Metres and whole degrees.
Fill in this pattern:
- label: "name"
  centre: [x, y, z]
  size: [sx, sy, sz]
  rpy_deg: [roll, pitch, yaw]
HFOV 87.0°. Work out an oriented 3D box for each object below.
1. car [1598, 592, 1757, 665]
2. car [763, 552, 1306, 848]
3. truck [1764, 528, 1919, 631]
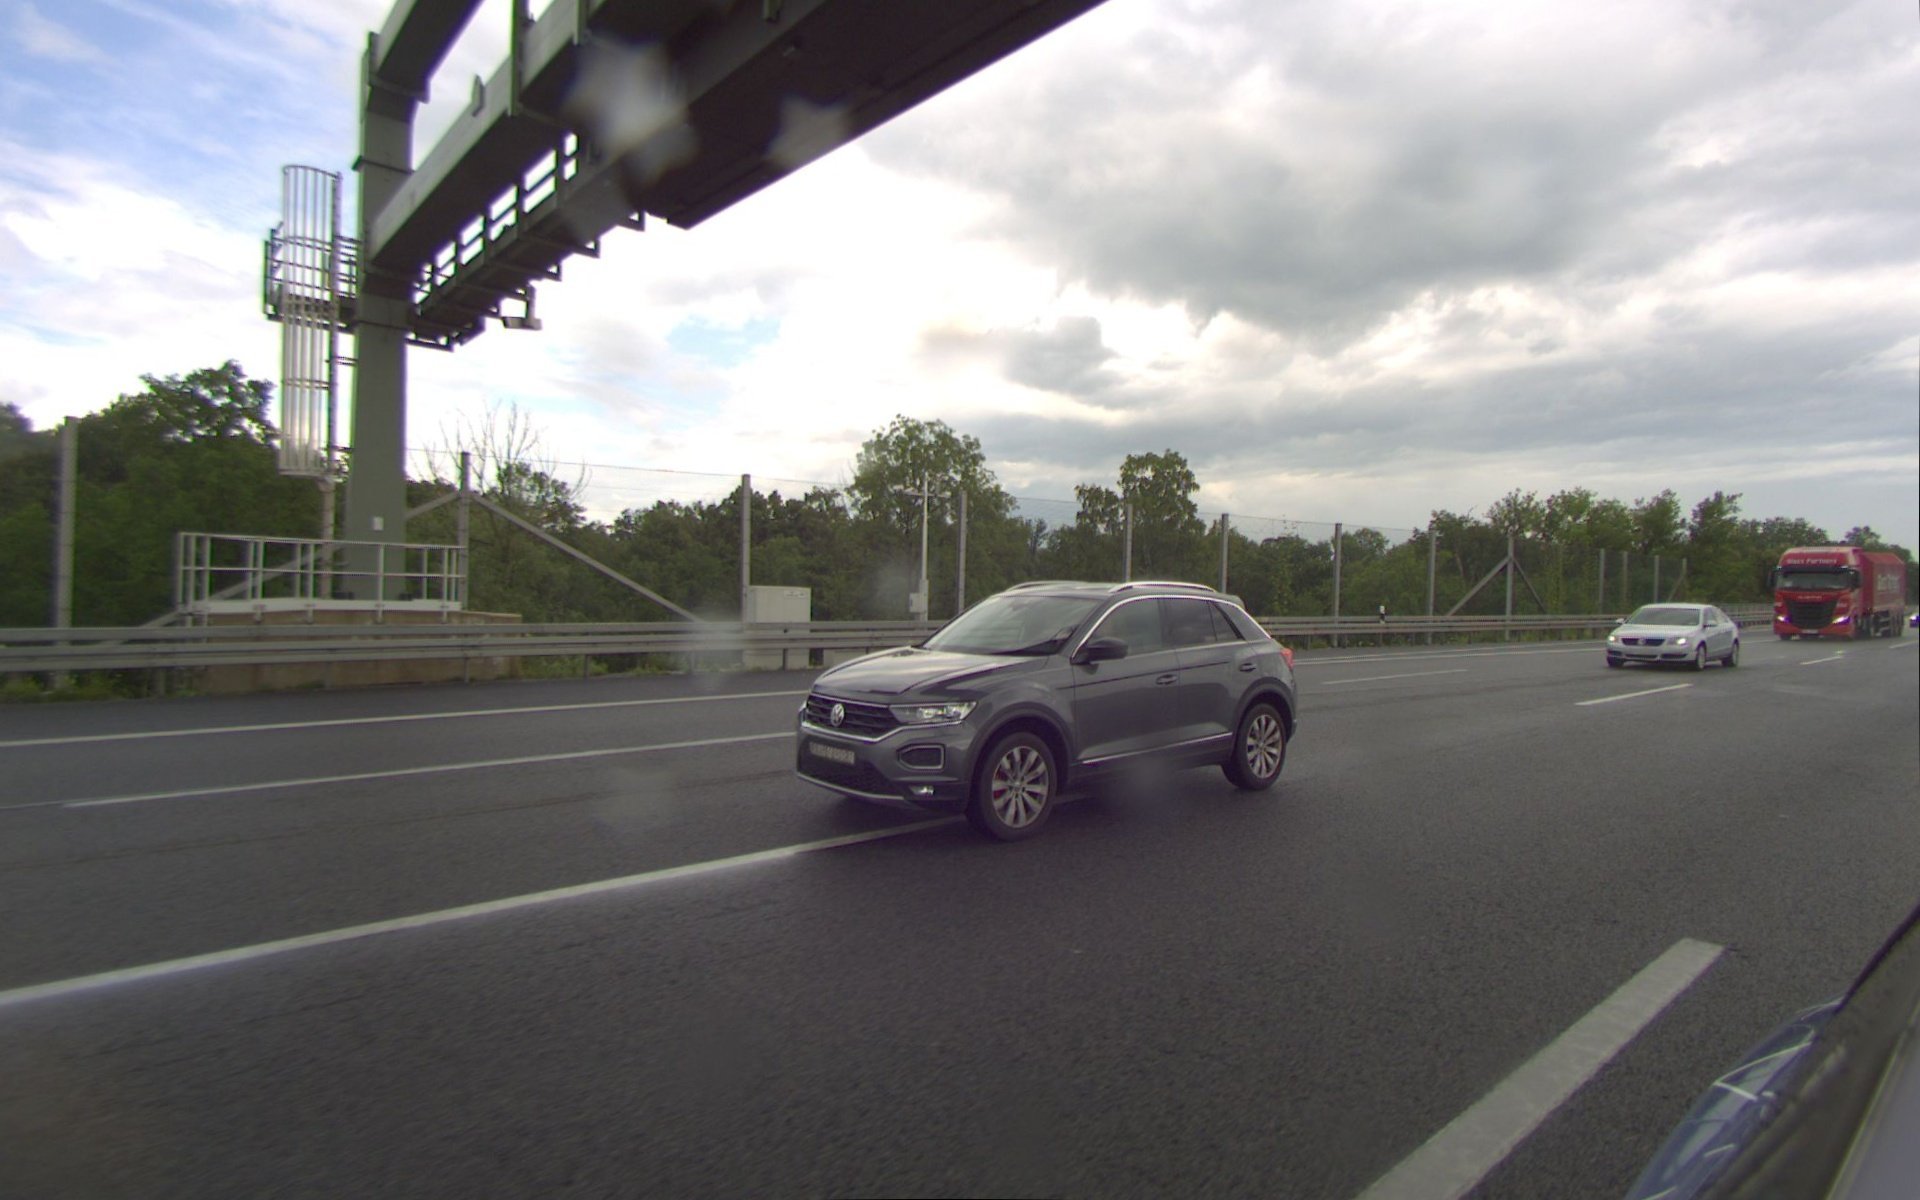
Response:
- label: "car"
  centre: [16.306, 0.602, 22.934]
  size: [4.169, 1.465, 1.898]
  rpy_deg: [1, 0, -39]
- label: "car"
  centre: [0.655, 0.523, 7.268]
  size: [3.654, 1.582, 1.796]
  rpy_deg: [0, 0, -39]
- label: "truck"
  centre: [40.524, -0.768, 46.038]
  size: [15.357, 4.054, 3.159]
  rpy_deg: [1, 0, -40]
